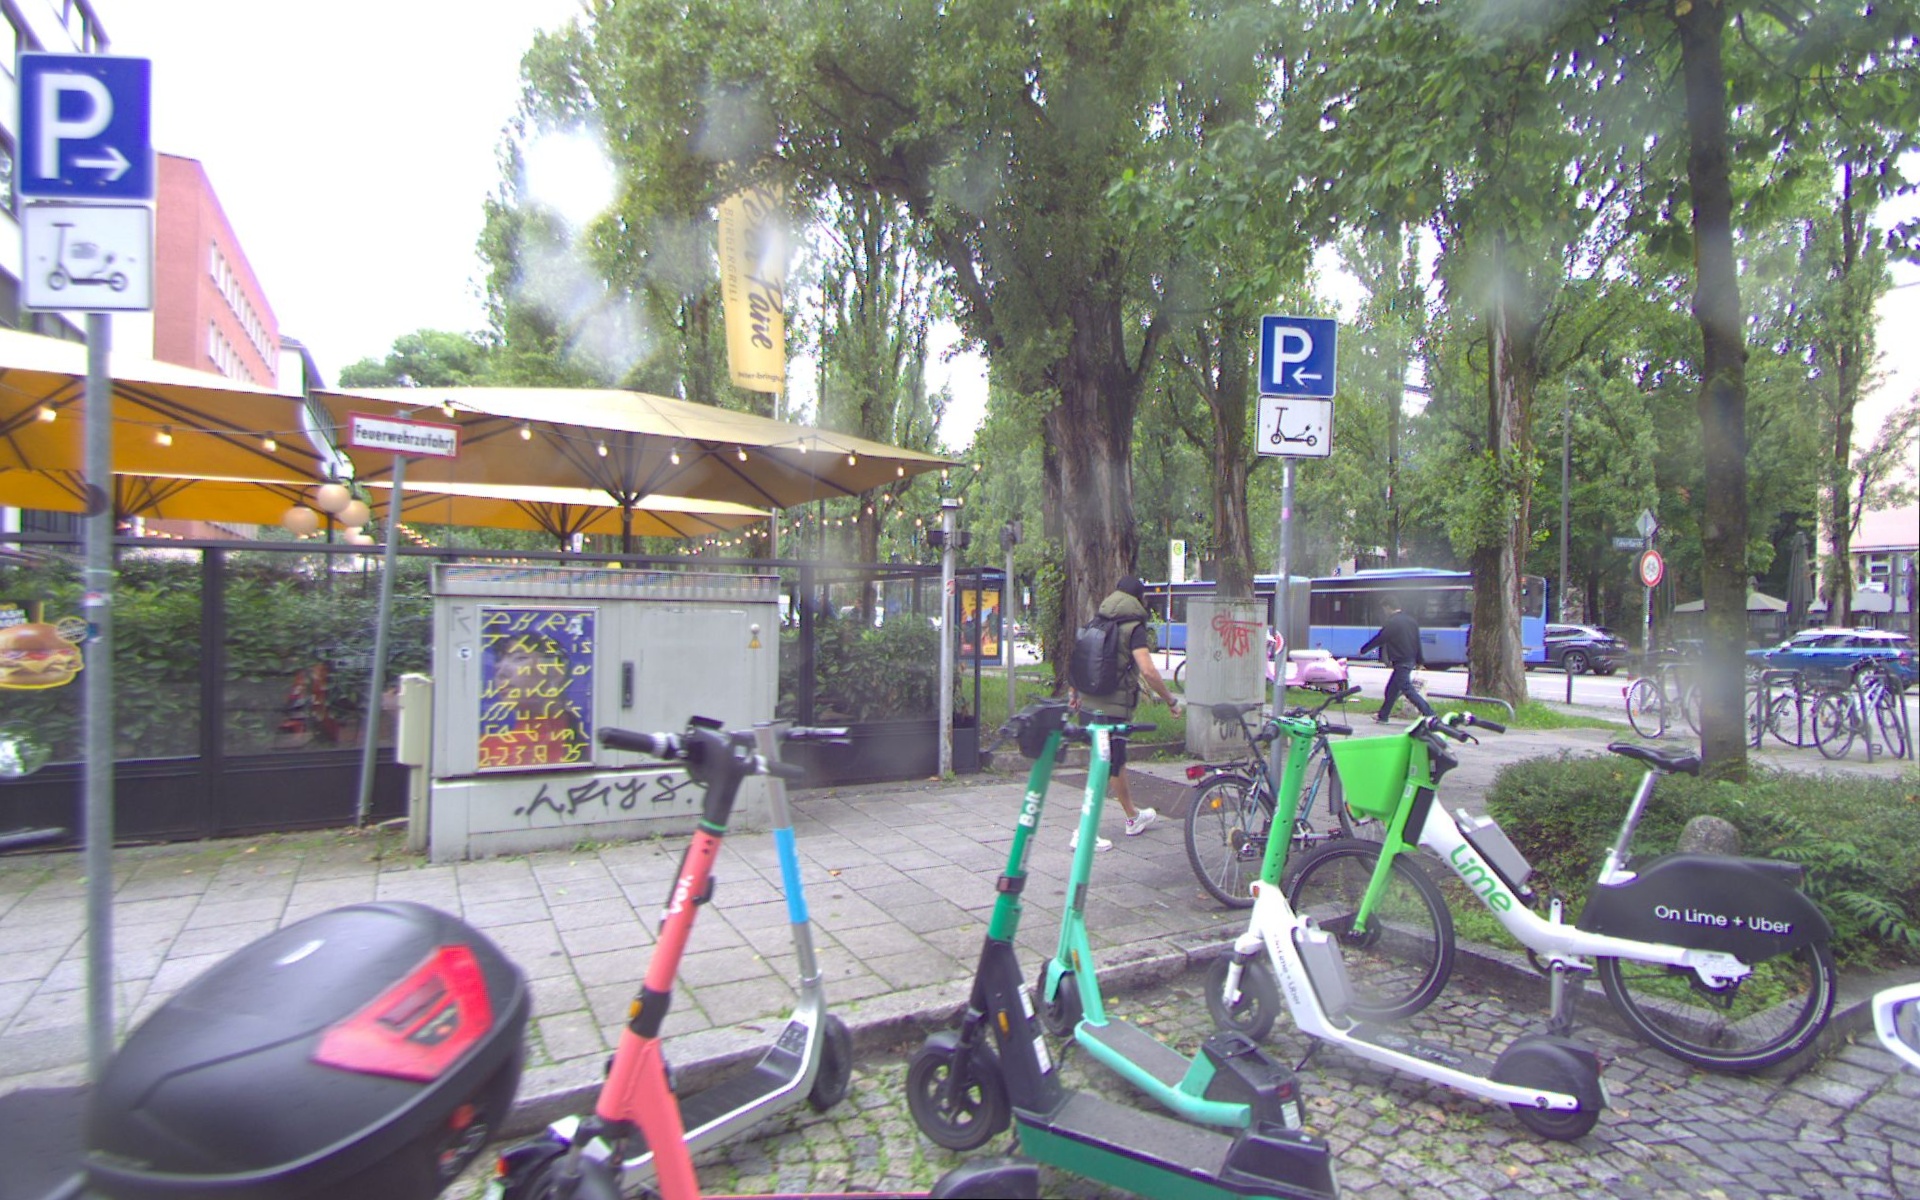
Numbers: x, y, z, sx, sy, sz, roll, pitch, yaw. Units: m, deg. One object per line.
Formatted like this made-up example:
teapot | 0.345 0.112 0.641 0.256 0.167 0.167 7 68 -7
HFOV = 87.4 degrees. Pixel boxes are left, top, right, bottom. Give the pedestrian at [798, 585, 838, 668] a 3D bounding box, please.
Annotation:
pedestrian | -3.390 0.622 24.008 0.635 1.933 0.700 0 -1 37

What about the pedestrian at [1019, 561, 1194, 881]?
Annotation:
pedestrian | 0.877 0.675 6.113 0.697 1.796 0.746 1 1 -30

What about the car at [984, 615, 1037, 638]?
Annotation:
car | 3.245 1.710 65.135 1.771 1.431 3.853 1 -1 -28

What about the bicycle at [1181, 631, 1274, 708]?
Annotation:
bicycle | 4.492 1.133 16.952 0.576 1.204 1.604 1 -1 -28

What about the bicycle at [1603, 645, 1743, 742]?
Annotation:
bicycle | 8.770 1.120 12.338 1.956 1.108 0.489 1 -1 -24

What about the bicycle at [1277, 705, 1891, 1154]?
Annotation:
bicycle | 2.082 1.023 3.586 1.731 1.158 0.553 0 -1 30

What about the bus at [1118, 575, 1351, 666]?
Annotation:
bus | 10.334 0.802 39.259 2.891 3.092 9.723 1 -1 -29

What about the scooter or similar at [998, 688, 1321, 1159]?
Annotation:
scooter or similar | 0.582 0.918 3.308 0.323 1.159 1.242 1 -1 -28

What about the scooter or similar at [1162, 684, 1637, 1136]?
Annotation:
scooter or similar | 1.407 0.907 3.368 1.407 1.159 0.368 0 -1 38

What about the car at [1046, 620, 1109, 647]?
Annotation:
car | 6.781 1.931 58.451 1.771 1.431 3.853 1 -1 -28

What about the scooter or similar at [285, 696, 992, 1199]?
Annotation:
scooter or similar | -0.617 0.875 2.161 1.337 1.290 0.326 1 0 -19

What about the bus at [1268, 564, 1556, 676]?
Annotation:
bus | 14.096 0.641 32.285 2.891 3.092 8.455 1 -1 -28

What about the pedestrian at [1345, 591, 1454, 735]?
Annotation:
pedestrian | 5.563 0.770 12.736 0.848 1.734 0.951 1 -1 -30

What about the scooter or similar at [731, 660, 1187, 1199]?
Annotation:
scooter or similar | -0.041 0.835 2.727 1.229 1.290 0.327 0 -1 31

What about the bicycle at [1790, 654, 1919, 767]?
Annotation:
bicycle | 9.623 1.147 10.716 1.679 1.108 0.489 1 -1 -24

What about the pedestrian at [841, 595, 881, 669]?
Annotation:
pedestrian | -2.366 0.755 24.033 0.635 1.750 0.700 0 -1 37

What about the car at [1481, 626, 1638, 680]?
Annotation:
car | 19.824 1.714 33.388 1.771 1.622 4.206 1 -1 -28

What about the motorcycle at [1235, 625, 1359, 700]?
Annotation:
motorcycle | 5.692 1.037 17.023 1.951 1.211 0.630 0 -1 18

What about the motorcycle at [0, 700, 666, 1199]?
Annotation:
motorcycle | -1.515 0.809 1.499 1.951 1.212 0.771 1 -1 18

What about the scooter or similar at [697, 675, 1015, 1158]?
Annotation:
scooter or similar | -0.268 0.880 3.285 0.383 1.195 1.249 0 -1 29

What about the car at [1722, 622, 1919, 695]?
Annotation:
car | 23.389 1.531 27.193 1.772 1.754 4.046 3 -2 -30

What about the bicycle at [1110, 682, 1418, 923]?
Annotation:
bicycle | 1.653 0.996 5.348 1.742 1.035 0.549 1 -1 -31

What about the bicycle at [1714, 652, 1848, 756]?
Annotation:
bicycle | 9.397 1.158 11.482 1.679 1.108 0.489 1 -1 -24
